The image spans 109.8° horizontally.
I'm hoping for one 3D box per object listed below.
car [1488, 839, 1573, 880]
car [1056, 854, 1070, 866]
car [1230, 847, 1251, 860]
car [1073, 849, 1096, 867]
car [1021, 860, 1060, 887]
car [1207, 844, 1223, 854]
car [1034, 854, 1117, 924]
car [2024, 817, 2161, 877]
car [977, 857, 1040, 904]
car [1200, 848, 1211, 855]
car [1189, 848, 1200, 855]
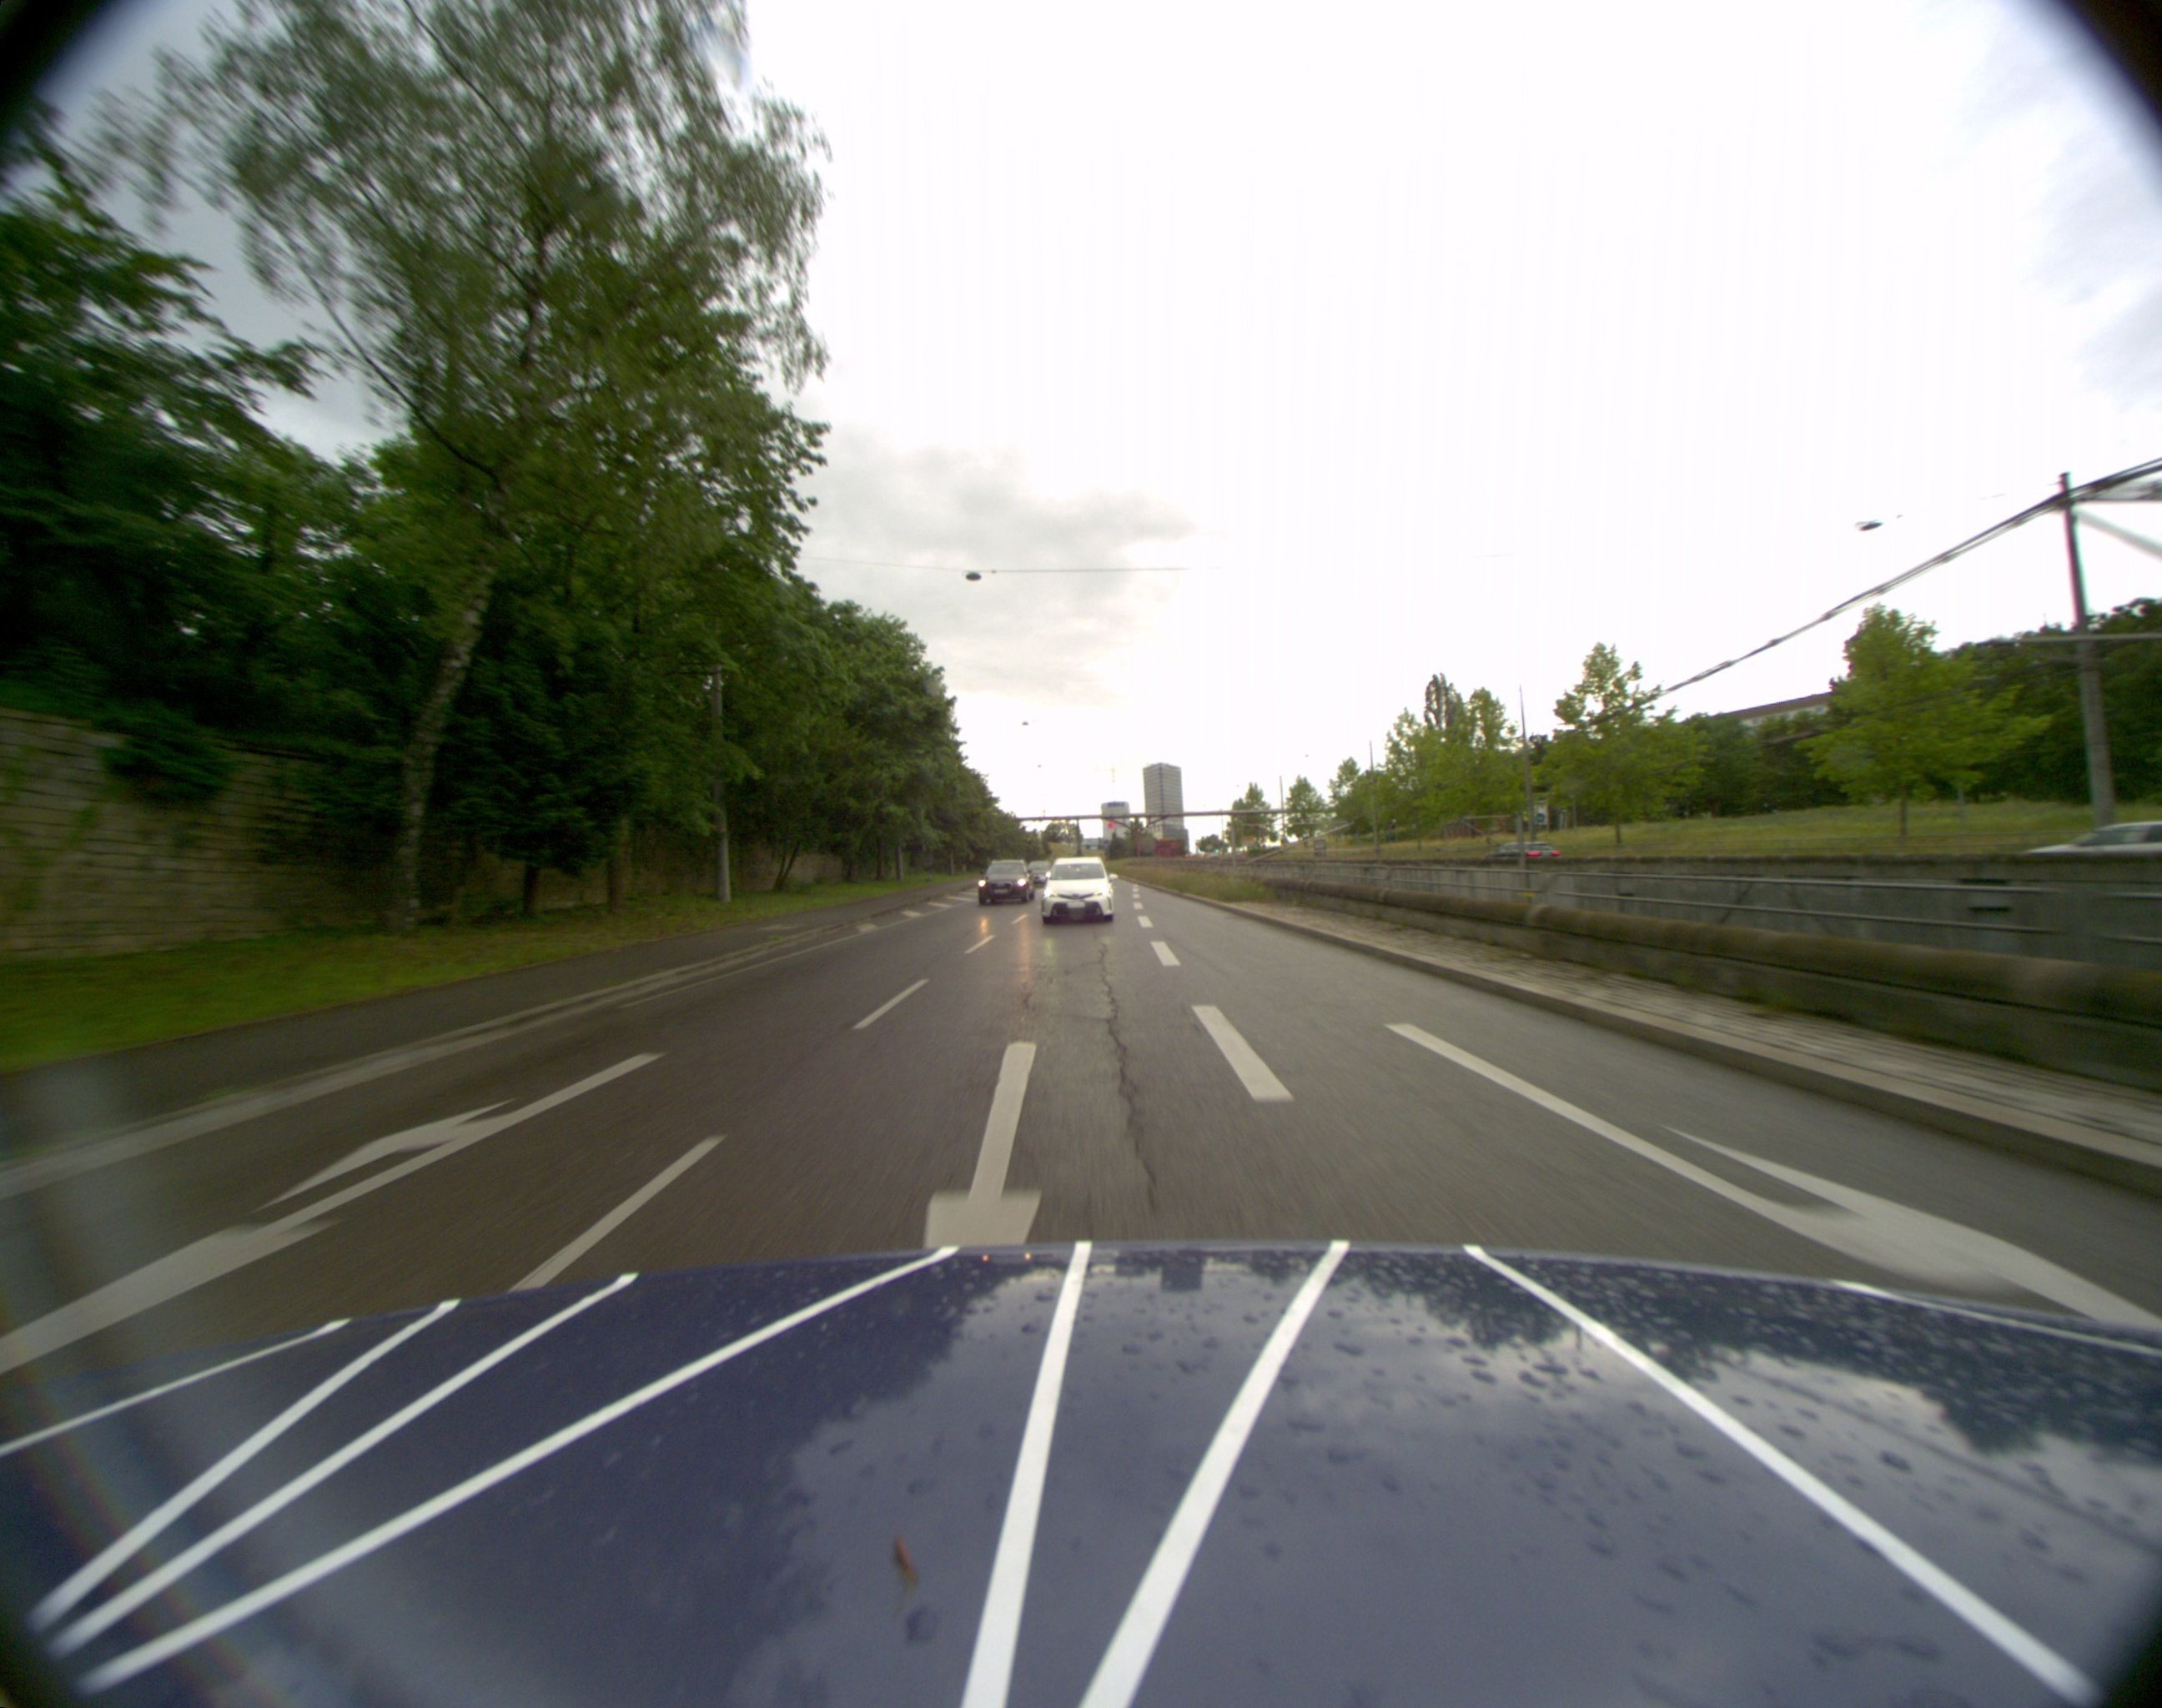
[{"bbox_3d":[24.192,0.271,41.056,1.896,1.959,4.034,-5,0,-4],"label":"car"},{"bbox_3d":[-2.667,0.915,113.650,1.999,1.761,4.000,-2,0,0],"label":"car"},{"bbox_3d":[22.916,-0.076,109.232,1.896,1.634,4.357,-5,0,0],"label":"car"},{"bbox_3d":[0.410,0.418,76.919,1.998,1.761,4.001,-2,0,4],"label":"car"},{"bbox_3d":[-2.384,1.120,45.211,1.845,1.377,4.001,-3,0,3],"label":"car"},{"bbox_3d":[22.873,-0.814,129.655,1.895,1.631,3.972,-3,0,0],"label":"car"},{"bbox_3d":[-0.050,0.819,20.123,1.924,1.604,4.376,-2,0,2],"label":"car"},{"bbox_3d":[24.307,-0.178,17.161,1.559,1.284,3.559,-3,0,0],"label":"car"},{"bbox_3d":[-2.705,0.955,29.202,1.927,1.591,4.279,-2,1,1],"label":"car"},{"bbox_3d":[30.270,-0.614,184.717,1.661,1.565,3.790,-5,0,-4],"label":"car"},{"bbox_3d":[26.078,-0.530,174.460,1.661,1.519,4.435,-3,0,0],"label":"car"}]
